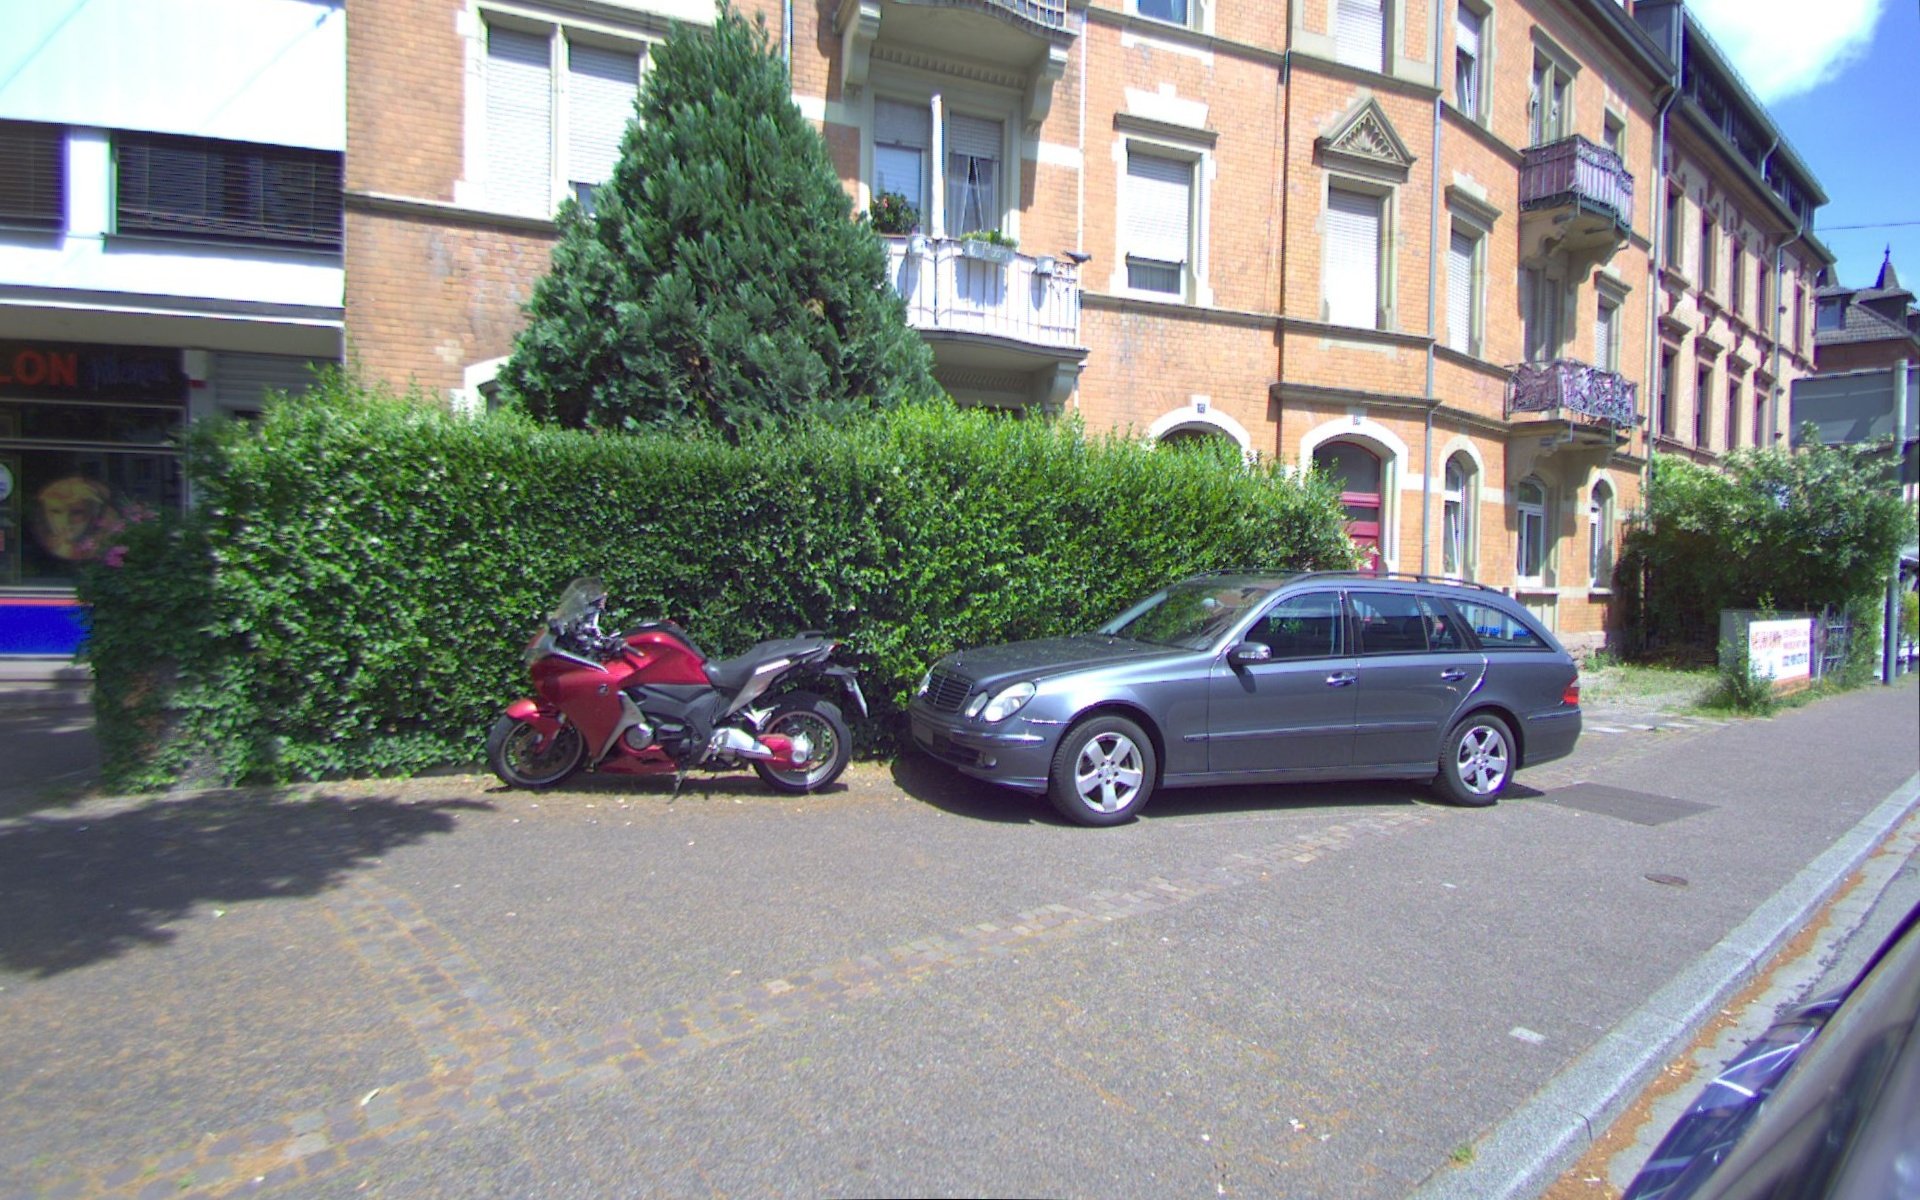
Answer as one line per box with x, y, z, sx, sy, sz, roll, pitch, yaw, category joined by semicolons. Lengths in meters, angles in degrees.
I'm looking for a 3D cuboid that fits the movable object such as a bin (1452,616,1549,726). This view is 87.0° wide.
5.661;0.718;10.615;0.624;1.085;0.652;1;1;-30;movable object such as a bin

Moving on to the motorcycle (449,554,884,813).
-1.670;0.443;5.943;2.232;1.318;0.935;2;1;-19;motorcycle

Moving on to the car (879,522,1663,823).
2.155;0.419;7.001;5.047;1.567;1.844;2;1;-20;car
